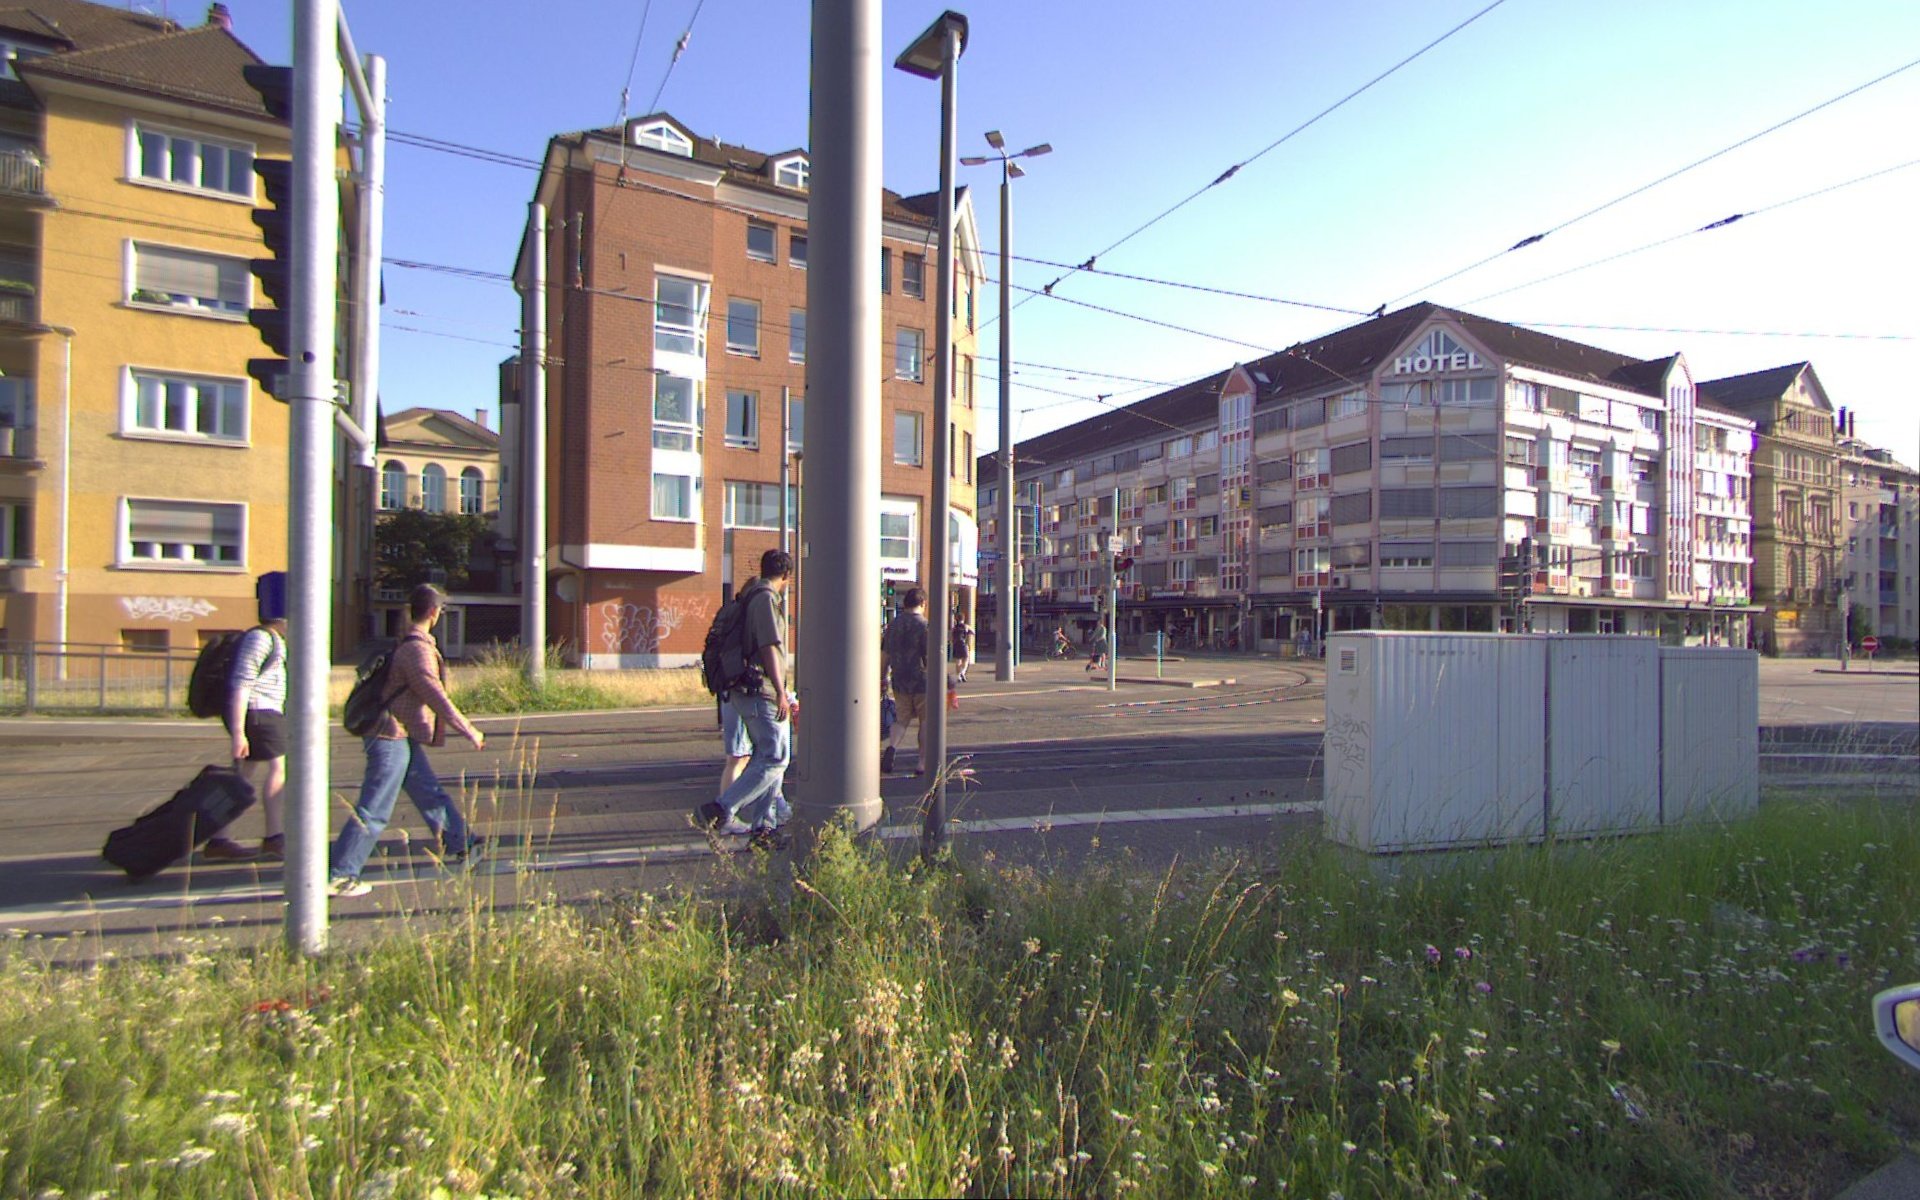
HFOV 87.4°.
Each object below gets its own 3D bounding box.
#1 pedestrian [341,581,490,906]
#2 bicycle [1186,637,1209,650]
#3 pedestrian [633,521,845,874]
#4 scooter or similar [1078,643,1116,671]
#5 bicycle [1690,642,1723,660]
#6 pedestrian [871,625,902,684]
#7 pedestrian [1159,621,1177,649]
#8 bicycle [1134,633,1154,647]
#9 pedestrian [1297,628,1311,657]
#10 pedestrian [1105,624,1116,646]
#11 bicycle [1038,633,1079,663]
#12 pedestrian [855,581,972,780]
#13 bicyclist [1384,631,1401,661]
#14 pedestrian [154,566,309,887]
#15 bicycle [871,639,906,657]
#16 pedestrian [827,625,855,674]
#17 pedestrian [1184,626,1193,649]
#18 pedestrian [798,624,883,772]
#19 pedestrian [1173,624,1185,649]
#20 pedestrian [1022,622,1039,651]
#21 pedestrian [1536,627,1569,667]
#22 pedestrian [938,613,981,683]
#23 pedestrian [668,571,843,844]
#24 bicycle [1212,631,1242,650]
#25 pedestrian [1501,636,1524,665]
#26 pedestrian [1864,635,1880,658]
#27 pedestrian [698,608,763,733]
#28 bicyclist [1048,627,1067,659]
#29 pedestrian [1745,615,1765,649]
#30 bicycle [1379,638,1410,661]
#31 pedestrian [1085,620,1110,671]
[{"bbox_3d":[-2.876,0.694,5.309,0.612,1.556,0.781,2,0,-30],"label":"pedestrian"},{"bbox_3d":[17.098,3.120,72.272,0.494,0.929,2.066,2,-2,-24],"label":"bicycle"},{"bbox_3d":[-1.278,0.527,5.753,0.889,1.824,0.782,4,-1,-29],"label":"pedestrian"},{"bbox_3d":[5.085,2.116,37.226,1.311,1.019,0.484,2,0,-23],"label":"scooter or similar"},{"bbox_3d":[48.497,3.297,65.272,2.056,1.085,0.451,2,0,-13],"label":"bicycle"},{"bbox_3d":[-2.076,1.534,28.470,0.825,1.605,0.683,2,0,-3],"label":"pedestrian"},{"bbox_3d":[12.968,2.180,62.660,0.773,1.682,0.677,2,0,-35],"label":"pedestrian"},{"bbox_3d":[14.640,3.186,79.843,1.630,1.134,0.480,2,0,-30],"label":"bicycle"},{"bbox_3d":[20.968,2.578,61.250,0.612,1.717,0.866,2,0,29],"label":"pedestrian"},{"bbox_3d":[12.550,2.889,83.877,0.804,1.802,0.680,2,0,0],"label":"pedestrian"},{"bbox_3d":[4.763,2.302,48.522,2.073,1.385,0.579,0,1,-34],"label":"bicycle"},{"bbox_3d":[-0.430,0.728,9.616,0.761,1.781,0.900,2,0,22],"label":"pedestrian"},{"bbox_3d":[24.063,2.537,55.874,0.649,1.618,0.636,-1,1,-26],"label":"bicyclist"},{"bbox_3d":[-4.104,0.664,5.710,0.612,1.662,0.781,2,0,-32],"label":"pedestrian"},{"bbox_3d":[-3.907,2.624,55.023,1.813,0.974,0.540,1,1,-27],"label":"bicycle"},{"bbox_3d":[-4.073,1.695,34.437,0.827,1.605,0.681,2,0,-14],"label":"pedestrian"},{"bbox_3d":[16.887,2.784,74.248,0.598,1.656,0.604,1,-3,16],"label":"pedestrian"},{"bbox_3d":[-1.156,0.931,9.809,0.585,1.378,0.608,1,-1,20],"label":"pedestrian"},{"bbox_3d":[16.658,2.755,76.422,0.601,1.877,0.601,2,0,-20],"label":"pedestrian"},{"bbox_3d":[4.270,2.195,60.698,0.773,1.682,0.677,2,0,-35],"label":"pedestrian"},{"bbox_3d":[31.266,2.466,52.989,0.847,1.909,1.187,-8,5,-33],"label":"pedestrian"},{"bbox_3d":[-0.011,1.252,26.359,0.824,1.781,0.687,2,0,-44],"label":"pedestrian"},{"bbox_3d":[-1.370,0.664,6.687,0.890,1.662,0.781,2,0,-32],"label":"pedestrian"},{"bbox_3d":[18.466,2.810,69.587,0.720,1.243,2.319,2,-2,-24],"label":"bicycle"},{"bbox_3d":[29.090,2.635,52.868,0.847,1.472,0.700,2,0,-34],"label":"pedestrian"},{"bbox_3d":[70.666,3.605,77.818,0.715,1.717,0.692,2,0,-30],"label":"pedestrian"},{"bbox_3d":[-3.049,0.921,13.350,0.775,1.609,0.606,2,0,-14],"label":"pedestrian"},{"bbox_3d":[4.711,2.088,48.480,0.731,1.501,0.561,-1,1,-35],"label":"bicyclist"},{"bbox_3d":[57.839,2.314,73.069,0.953,2.430,0.918,2,0,-40],"label":"pedestrian"},{"bbox_3d":[24.192,2.764,55.946,1.746,1.160,0.636,-1,1,-27],"label":"bicycle"},{"bbox_3d":[5.095,1.690,37.230,0.713,1.872,0.559,2,0,-23],"label":"pedestrian"}]
